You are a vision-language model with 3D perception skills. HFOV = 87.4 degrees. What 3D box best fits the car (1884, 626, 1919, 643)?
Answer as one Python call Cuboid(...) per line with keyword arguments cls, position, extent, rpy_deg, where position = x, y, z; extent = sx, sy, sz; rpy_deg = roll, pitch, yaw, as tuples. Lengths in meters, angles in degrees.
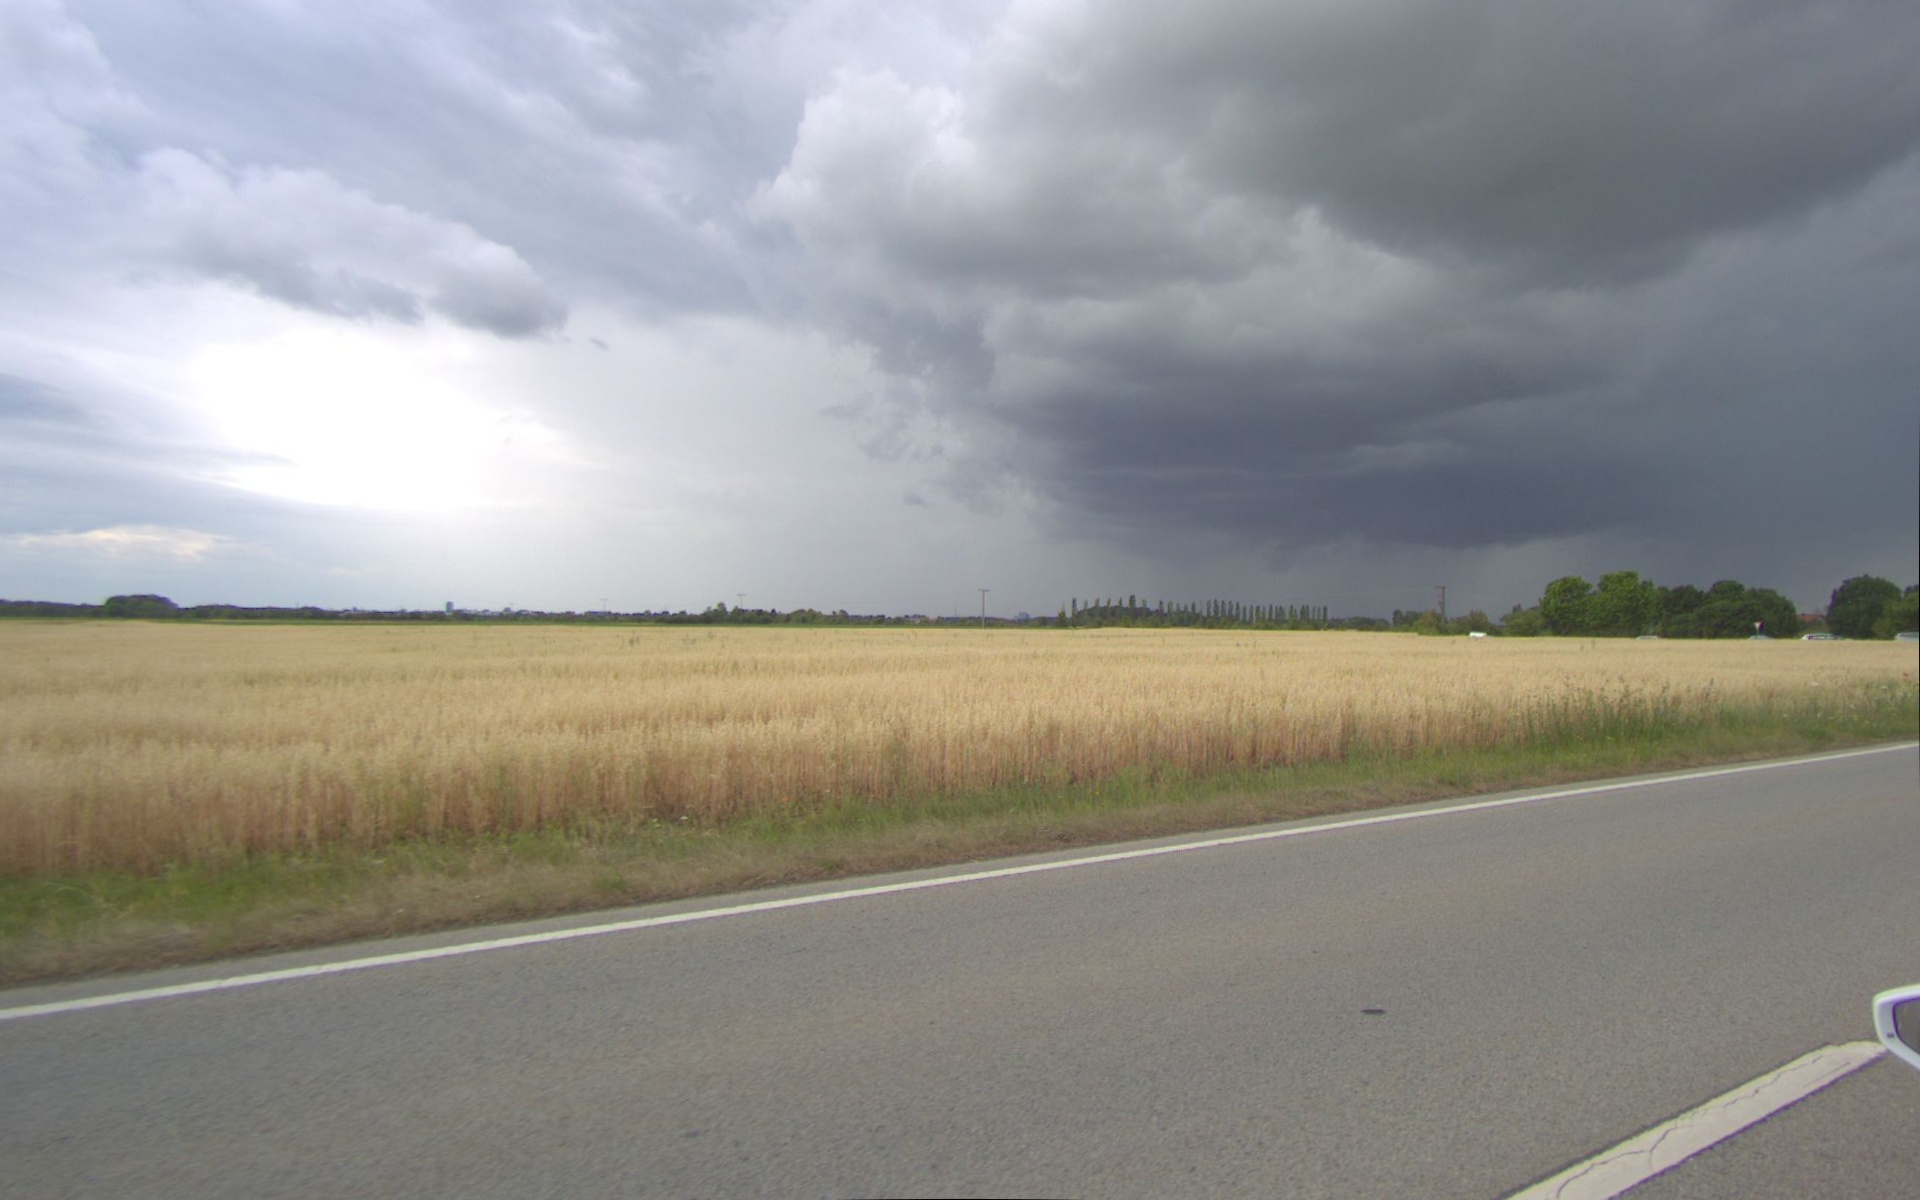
Cuboid(cls="car", position=(93.871, 3.402, 98.737), extent=(1.841, 1.670, 4.060), rpy_deg=(1, -2, -25))
